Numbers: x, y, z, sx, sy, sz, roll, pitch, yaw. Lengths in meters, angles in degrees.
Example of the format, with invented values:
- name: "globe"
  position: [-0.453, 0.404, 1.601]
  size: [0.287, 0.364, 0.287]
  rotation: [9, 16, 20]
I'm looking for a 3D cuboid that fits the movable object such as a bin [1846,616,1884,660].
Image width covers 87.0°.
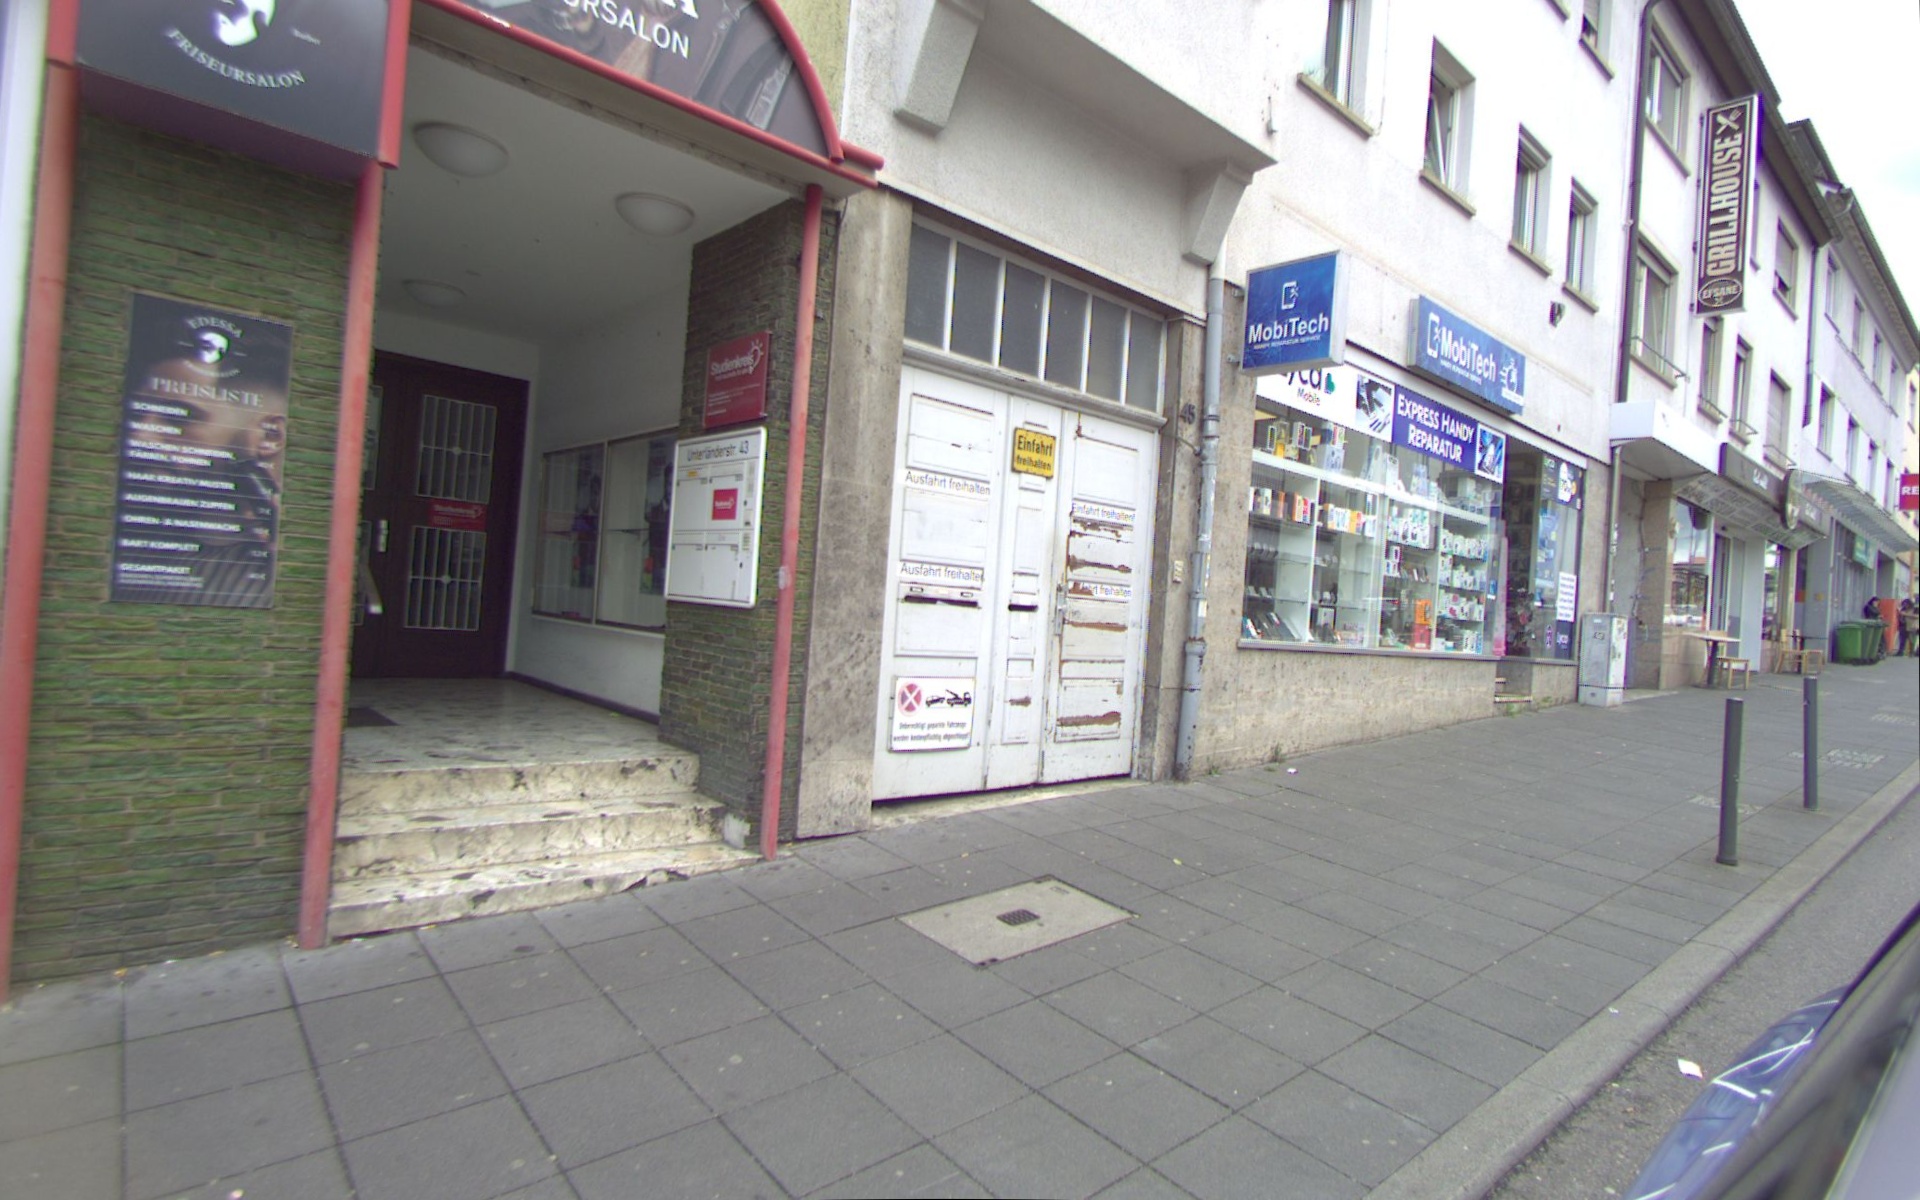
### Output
- name: "movable object such as a bin"
  position: [21.237, 0.881, 23.759]
  size: [0.489, 0.968, 0.568]
  rotation: [2, 2, -40]

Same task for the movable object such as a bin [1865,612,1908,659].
- name: "movable object such as a bin"
  position: [22.828, 0.858, 24.935]
  size: [0.648, 1.094, 0.652]
  rotation: [2, 2, -41]

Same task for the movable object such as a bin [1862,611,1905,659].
- name: "movable object such as a bin"
  position: [22.315, 0.835, 24.457]
  size: [0.661, 1.094, 0.652]
  rotation: [2, 2, -41]

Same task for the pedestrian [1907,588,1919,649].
- name: "pedestrian"
  position: [28.049, 0.556, 29.436]
  size: [0.626, 1.746, 0.597]
  rotation: [6, 4, 44]

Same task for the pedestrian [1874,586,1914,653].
- name: "pedestrian"
  position: [24.894, 0.515, 26.990]
  size: [0.621, 1.747, 0.601]
  rotation: [1, 0, 26]

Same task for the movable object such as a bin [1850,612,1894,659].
- name: "movable object such as a bin"
  position: [21.725, 0.838, 24.115]
  size: [0.550, 1.043, 0.670]
  rotation: [2, 2, -40]
